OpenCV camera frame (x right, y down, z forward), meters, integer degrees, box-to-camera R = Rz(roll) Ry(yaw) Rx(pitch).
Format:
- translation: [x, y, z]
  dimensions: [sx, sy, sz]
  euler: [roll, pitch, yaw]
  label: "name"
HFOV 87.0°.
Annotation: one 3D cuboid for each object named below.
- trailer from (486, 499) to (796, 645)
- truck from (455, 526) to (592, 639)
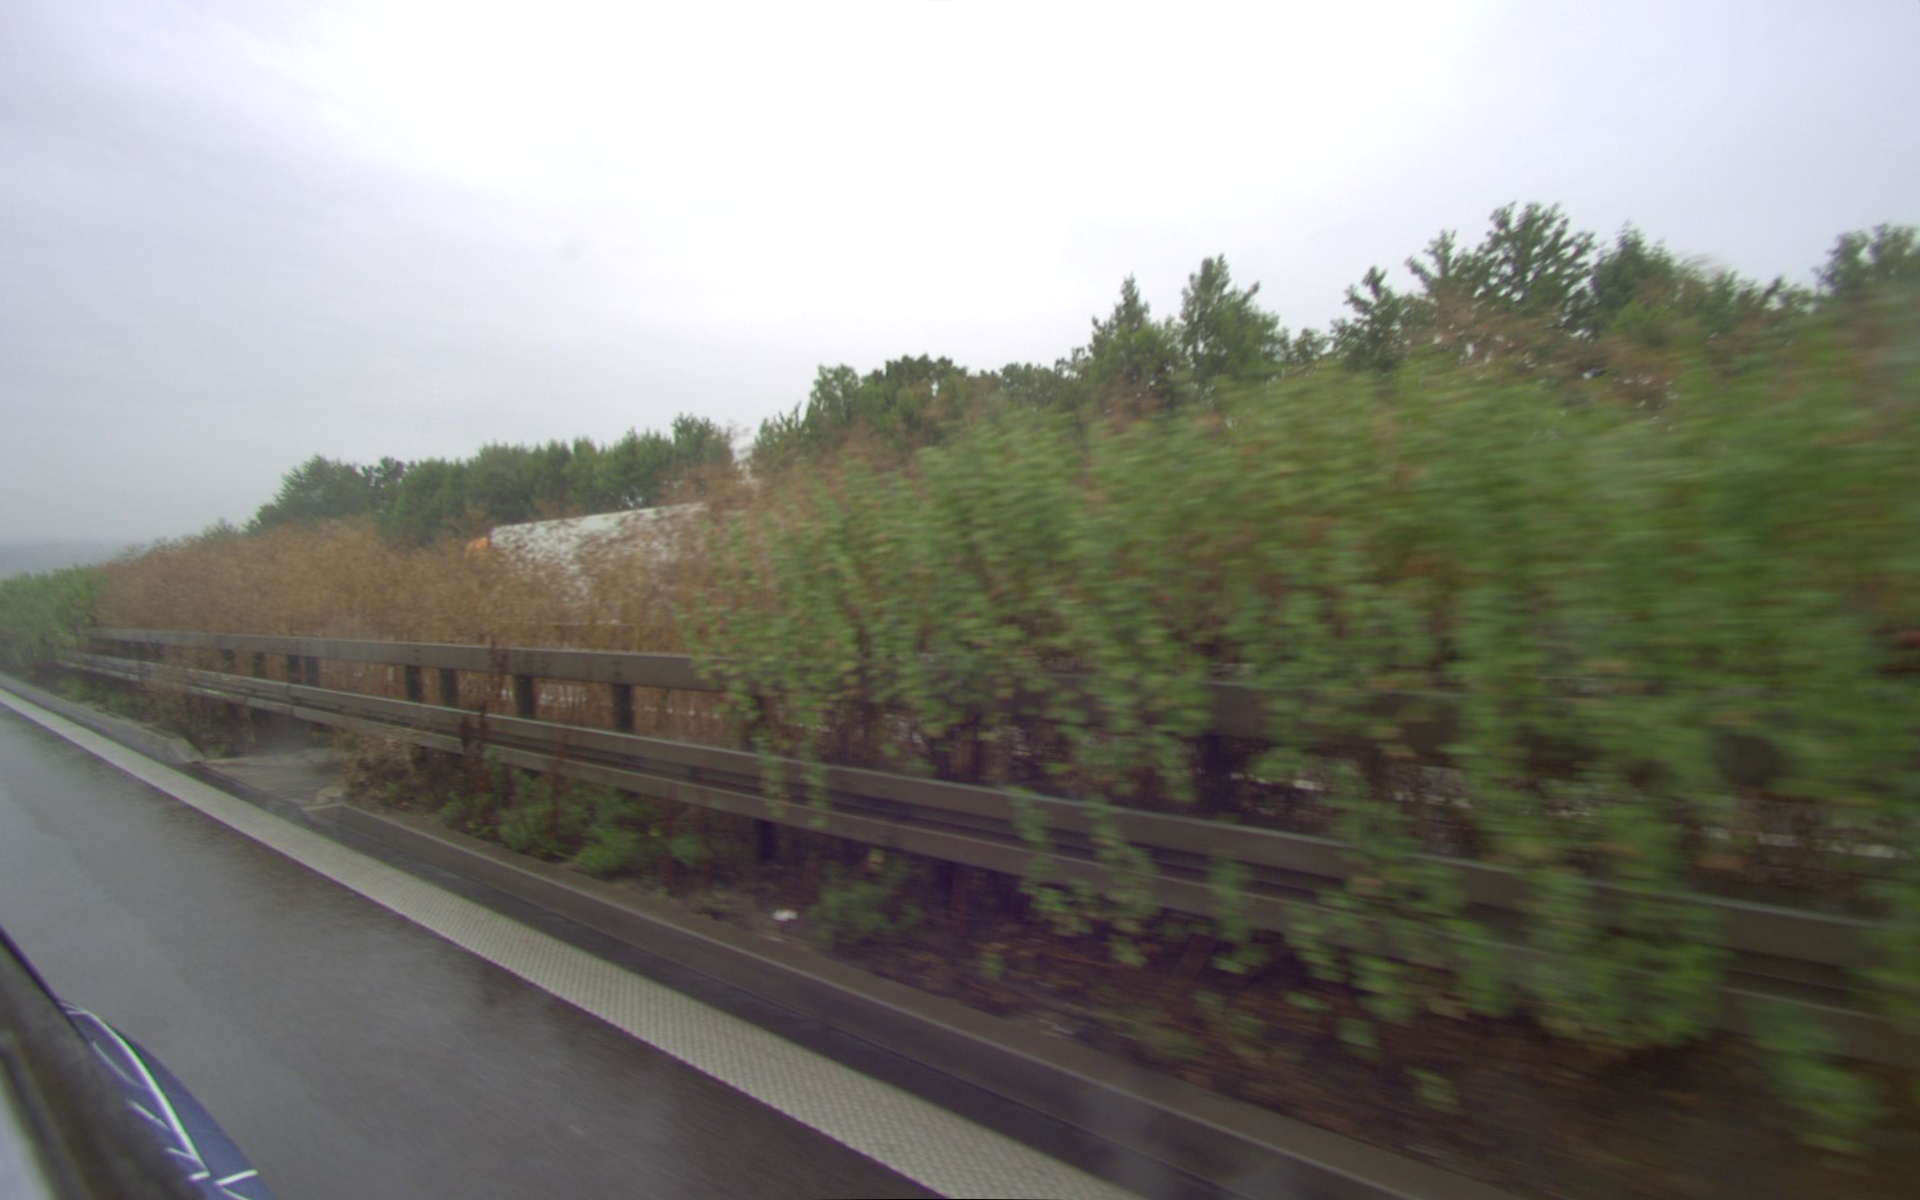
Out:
- translation: [-10.650, -0.689, 32.031]
  dimensions: [13.795, 3.817, 2.765]
  euler: [-1, 1, 42]
  label: "trailer"
- translation: [-15.955, -0.591, 36.893]
  dimensions: [4.889, 3.817, 2.765]
  euler: [-1, 1, 42]
  label: "truck"
